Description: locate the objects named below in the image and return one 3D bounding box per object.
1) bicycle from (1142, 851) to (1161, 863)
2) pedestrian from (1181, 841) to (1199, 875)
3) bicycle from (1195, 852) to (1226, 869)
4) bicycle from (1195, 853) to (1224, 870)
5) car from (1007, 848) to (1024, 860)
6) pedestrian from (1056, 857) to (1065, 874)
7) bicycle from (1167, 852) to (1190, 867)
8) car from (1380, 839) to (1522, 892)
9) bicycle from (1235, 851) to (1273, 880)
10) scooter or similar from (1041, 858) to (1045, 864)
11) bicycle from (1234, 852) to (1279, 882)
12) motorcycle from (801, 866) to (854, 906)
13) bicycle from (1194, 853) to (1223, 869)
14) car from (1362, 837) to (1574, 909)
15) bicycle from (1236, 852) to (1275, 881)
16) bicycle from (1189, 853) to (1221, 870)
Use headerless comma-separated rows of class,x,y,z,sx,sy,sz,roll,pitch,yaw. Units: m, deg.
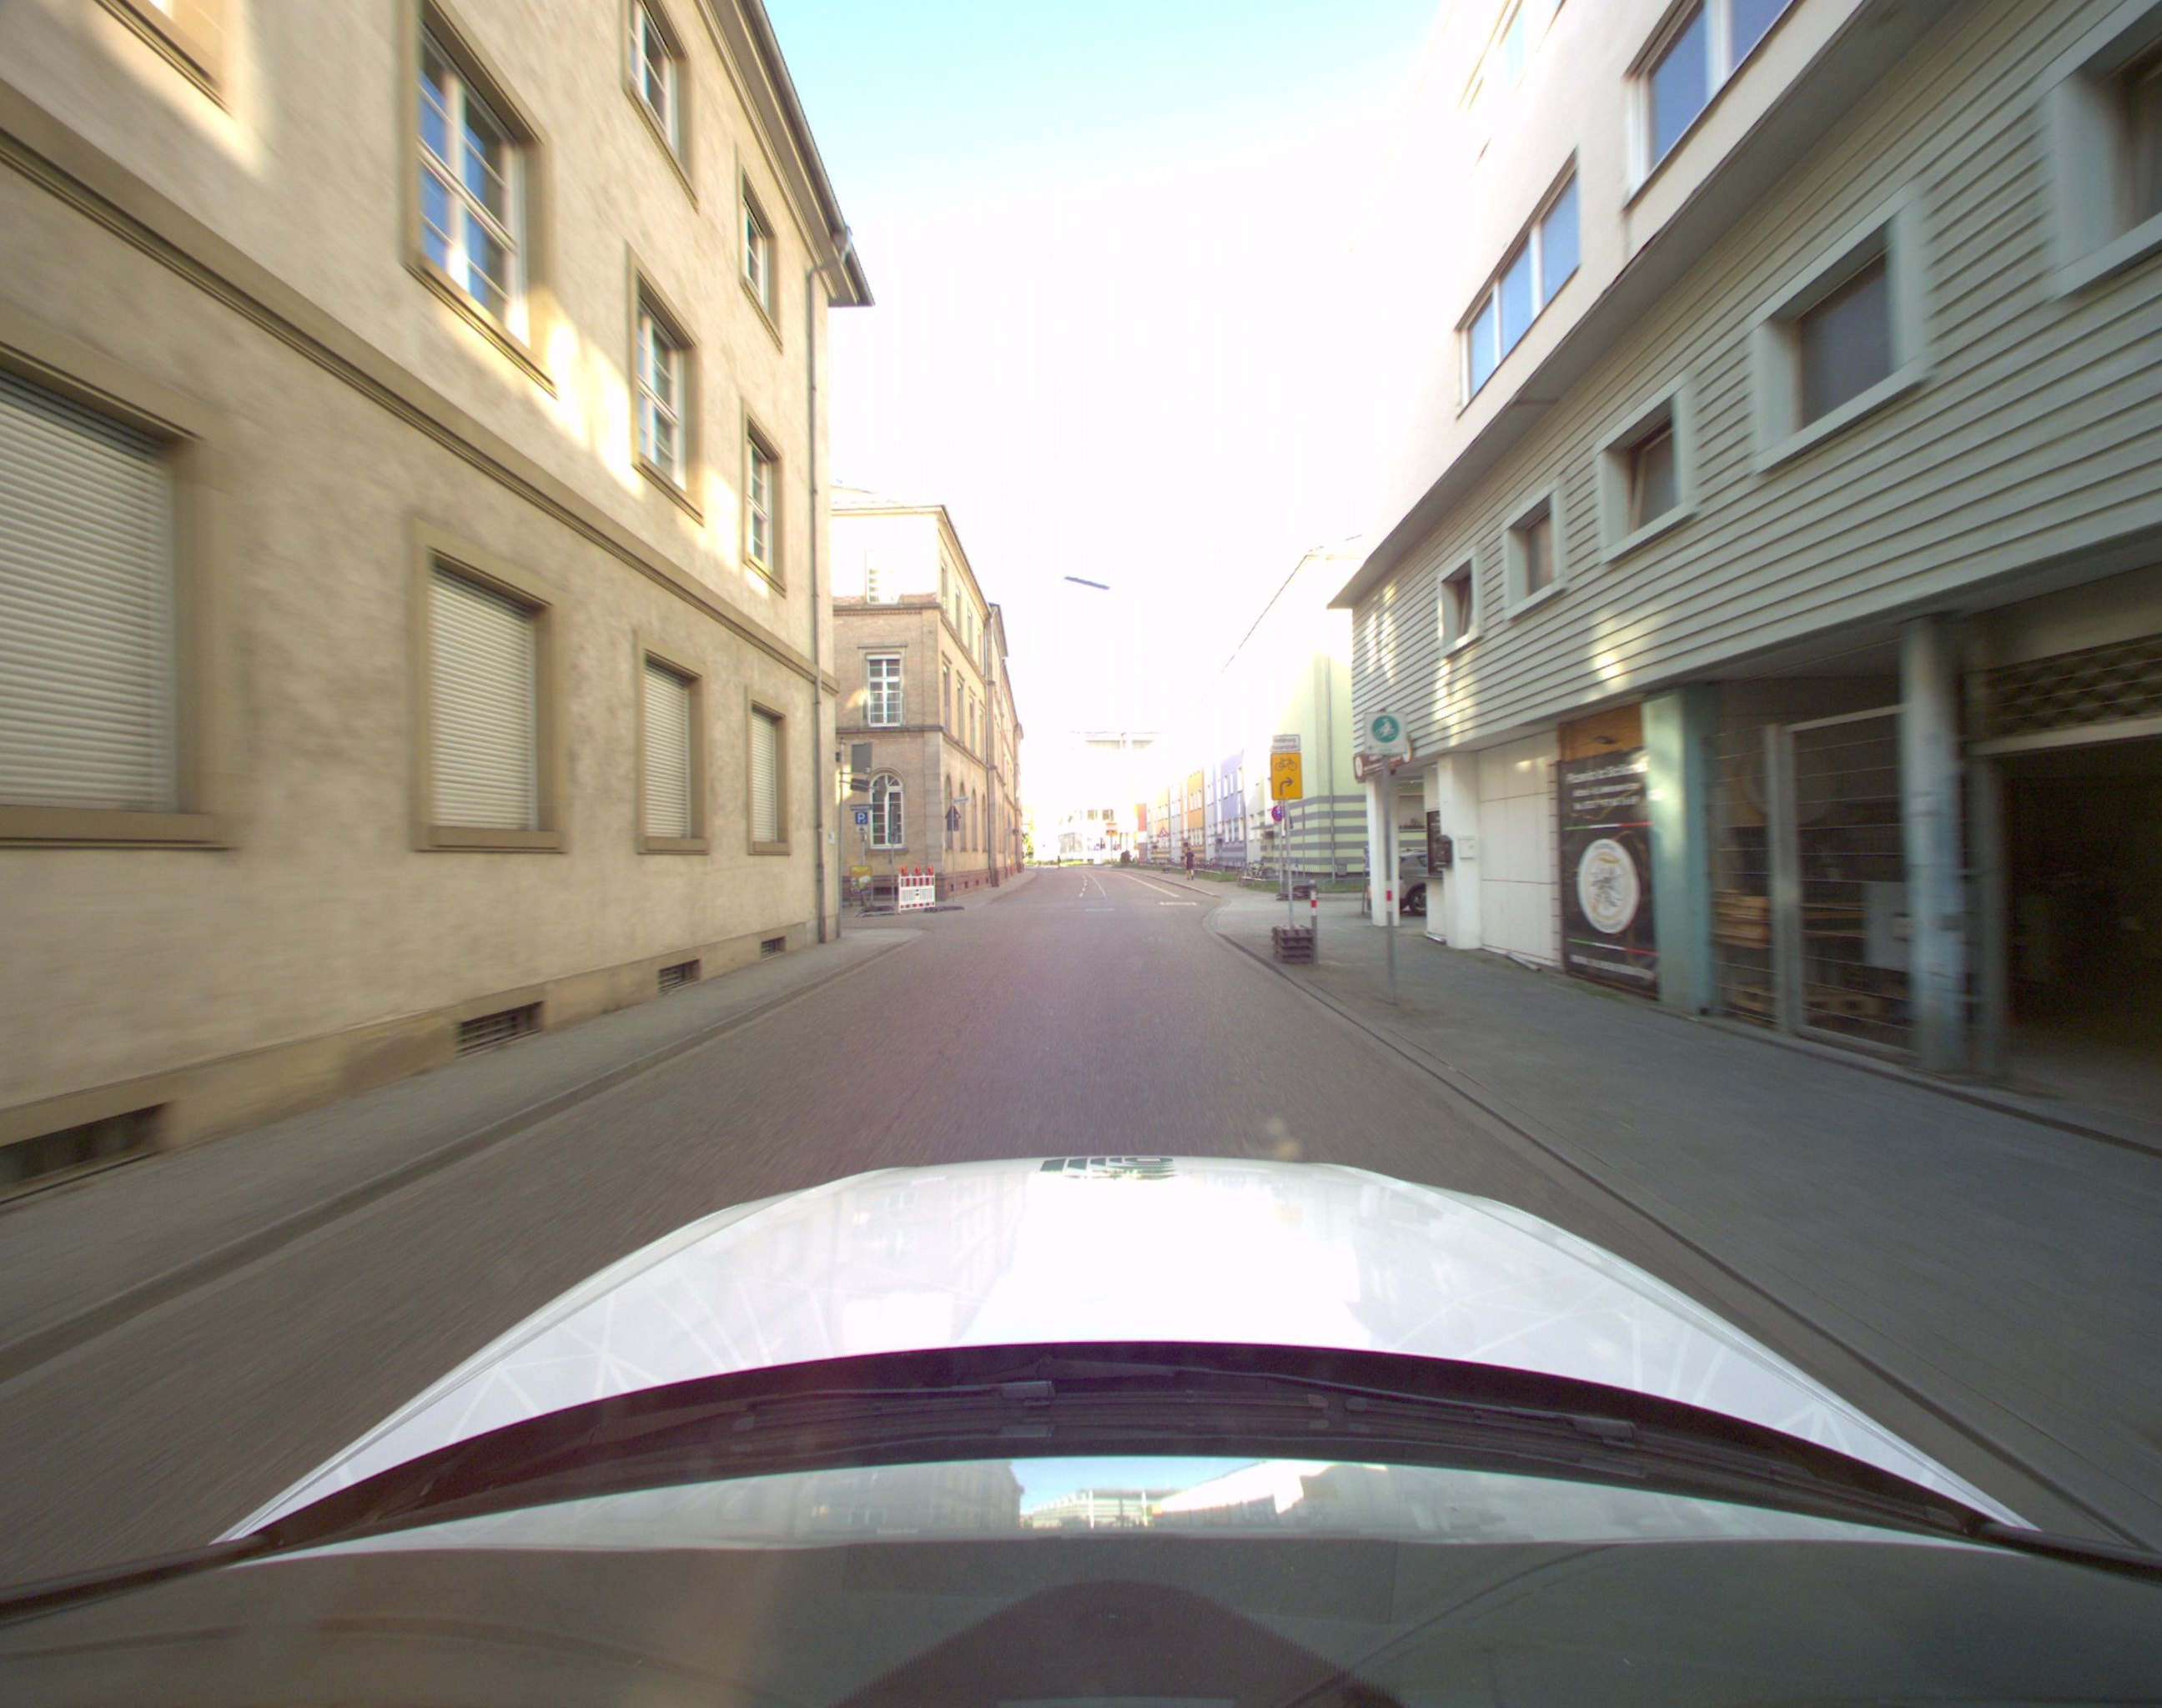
bicycle,6.899,0.301,79.681,1.751,1.004,0.612,-3,-1,-6
pedestrian,5.934,0.218,44.395,0.694,1.760,1.188,-4,0,0
bicycle,7.893,0.413,49.567,1.743,0.946,0.551,-3,-1,-1
bicycle,7.966,0.472,50.573,1.742,0.946,0.326,-3,-1,0
car,-11.900,0.023,147.566,2.426,2.112,5.208,0,-1,-13
pedestrian,-2.485,1.352,97.781,0.895,2.013,0.751,-2,-1,-9
bicycle,7.826,0.419,65.452,1.806,1.137,0.551,-2,-1,-3
car,11.162,0.345,24.753,3.533,1.482,1.709,-1,0,0
bicycle,7.749,0.520,36.550,1.602,1.141,0.236,-5,1,-9
scooter or similar,-6.038,1.111,129.508,0.325,1.059,1.137,-2,0,-12
bicycle,7.503,0.560,34.860,1.743,1.141,0.552,-5,1,-1
motorcycle,-7.929,0.973,25.399,0.664,1.173,2.174,-3,1,-43
bicycle,7.997,0.451,51.039,1.743,0.946,0.335,-3,-1,-1
car,8.940,0.420,19.054,4.066,1.482,1.865,-2,0,-1
bicycle,7.764,0.535,36.273,1.640,1.141,0.282,-5,1,-9
bicycle,7.426,0.466,48.787,1.743,0.946,0.551,-3,-1,-1
